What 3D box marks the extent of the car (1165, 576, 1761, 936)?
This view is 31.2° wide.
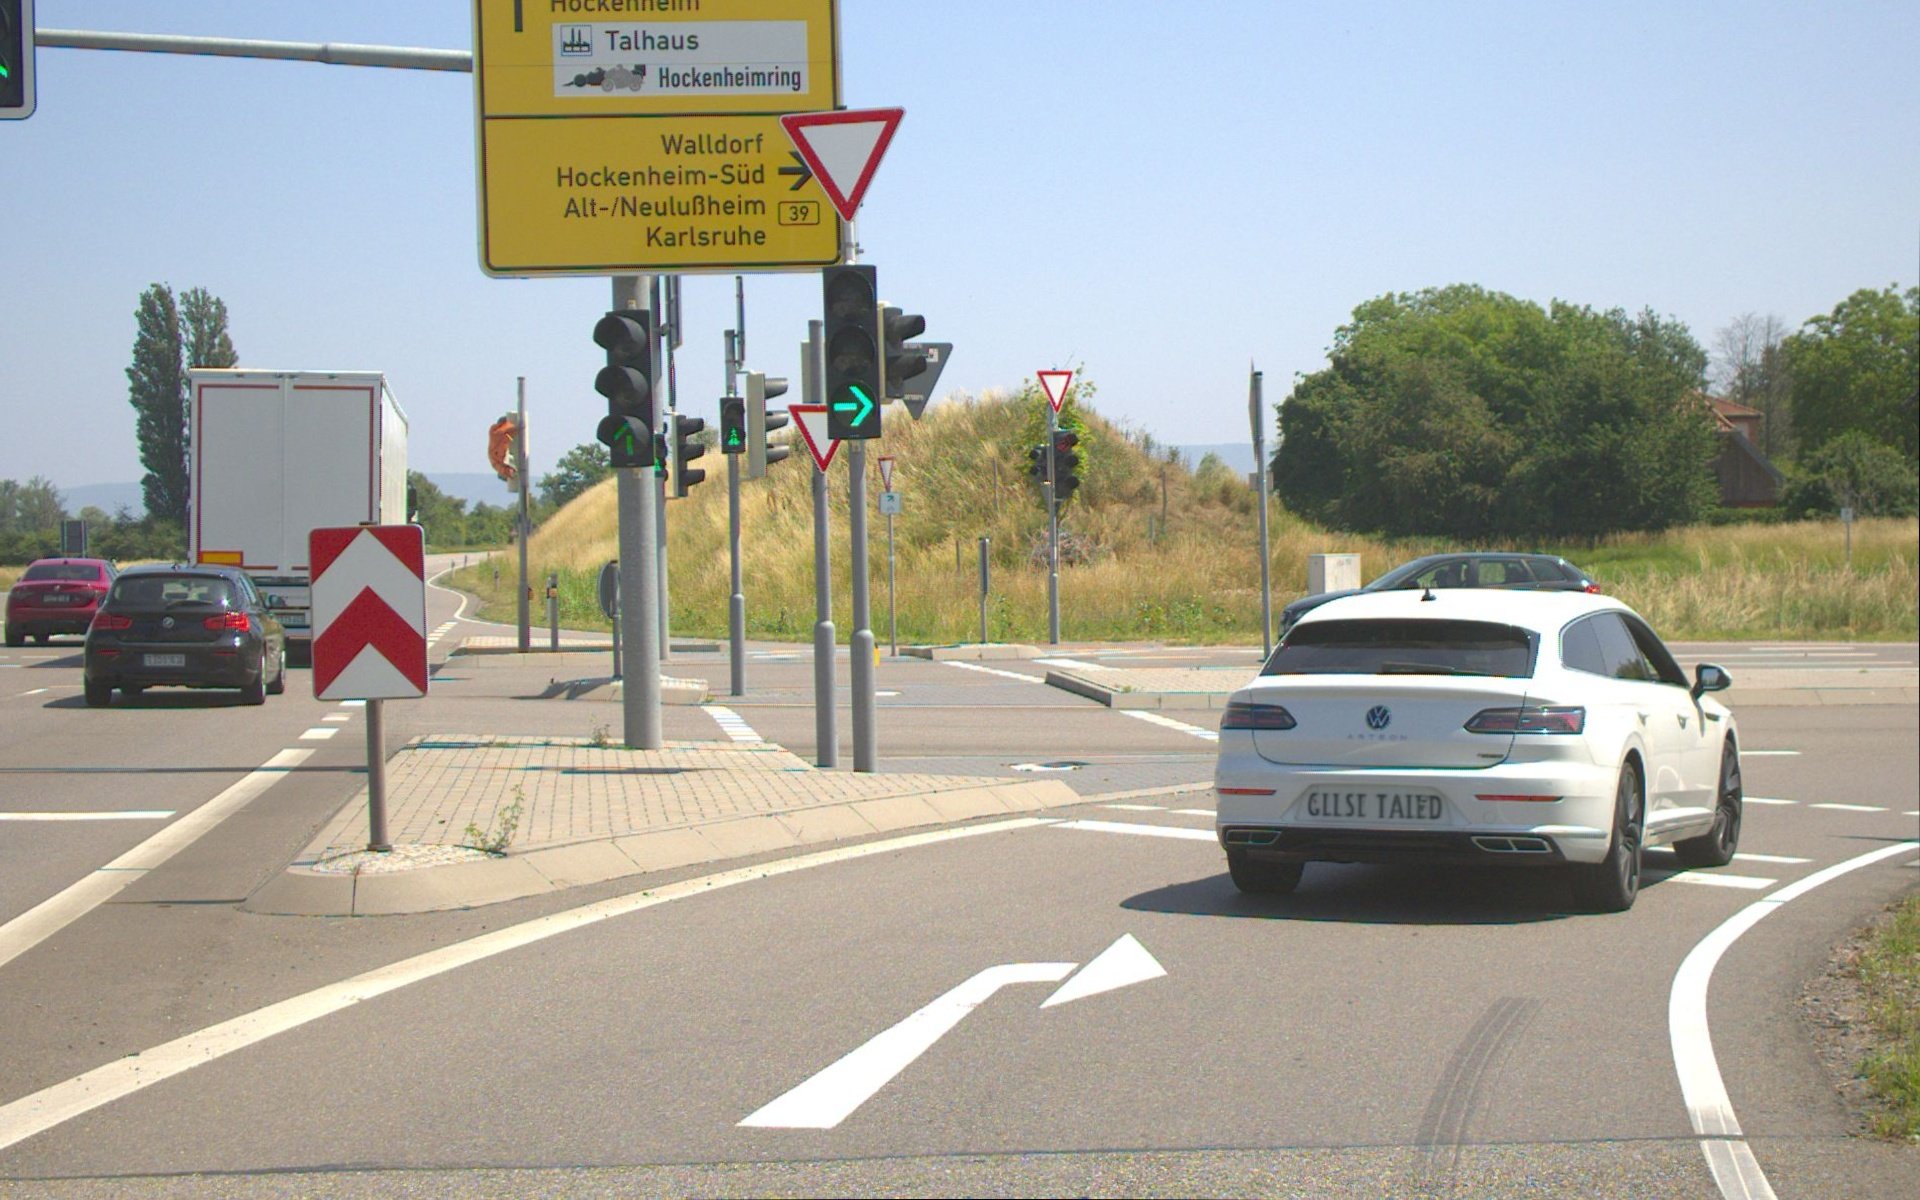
[{"bbox_3d":[2.597,0.633,16.690,1.850,1.428,4.603,2,1,21],"label":"car"}]

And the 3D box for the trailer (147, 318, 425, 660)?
[{"bbox_3d":[-9.990,-1.556,52.314,3.380,4.527,12.875,1,1,-8],"label":"trailer"}]

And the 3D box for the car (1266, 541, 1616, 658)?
[{"bbox_3d":[6.247,-0.025,44.936,4.259,1.364,1.776,-1,2,-2],"label":"car"}]

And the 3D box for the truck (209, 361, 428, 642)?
[{"bbox_3d":[-10.948,-1.641,59.249,3.380,4.527,6.374,1,1,-8],"label":"truck"}]

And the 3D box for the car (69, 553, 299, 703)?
[{"bbox_3d":[-8.008,0.245,35.819,1.784,1.426,4.381,1,1,-5],"label":"car"}]

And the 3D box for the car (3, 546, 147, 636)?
[{"bbox_3d":[-14.882,-0.181,58.014,1.749,1.416,4.567,1,1,-7],"label":"car"}]

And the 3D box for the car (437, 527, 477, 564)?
[{"bbox_3d":[-25.836,-2.776,176.488,1.980,1.863,4.468,0,0,-9],"label":"car"}]
